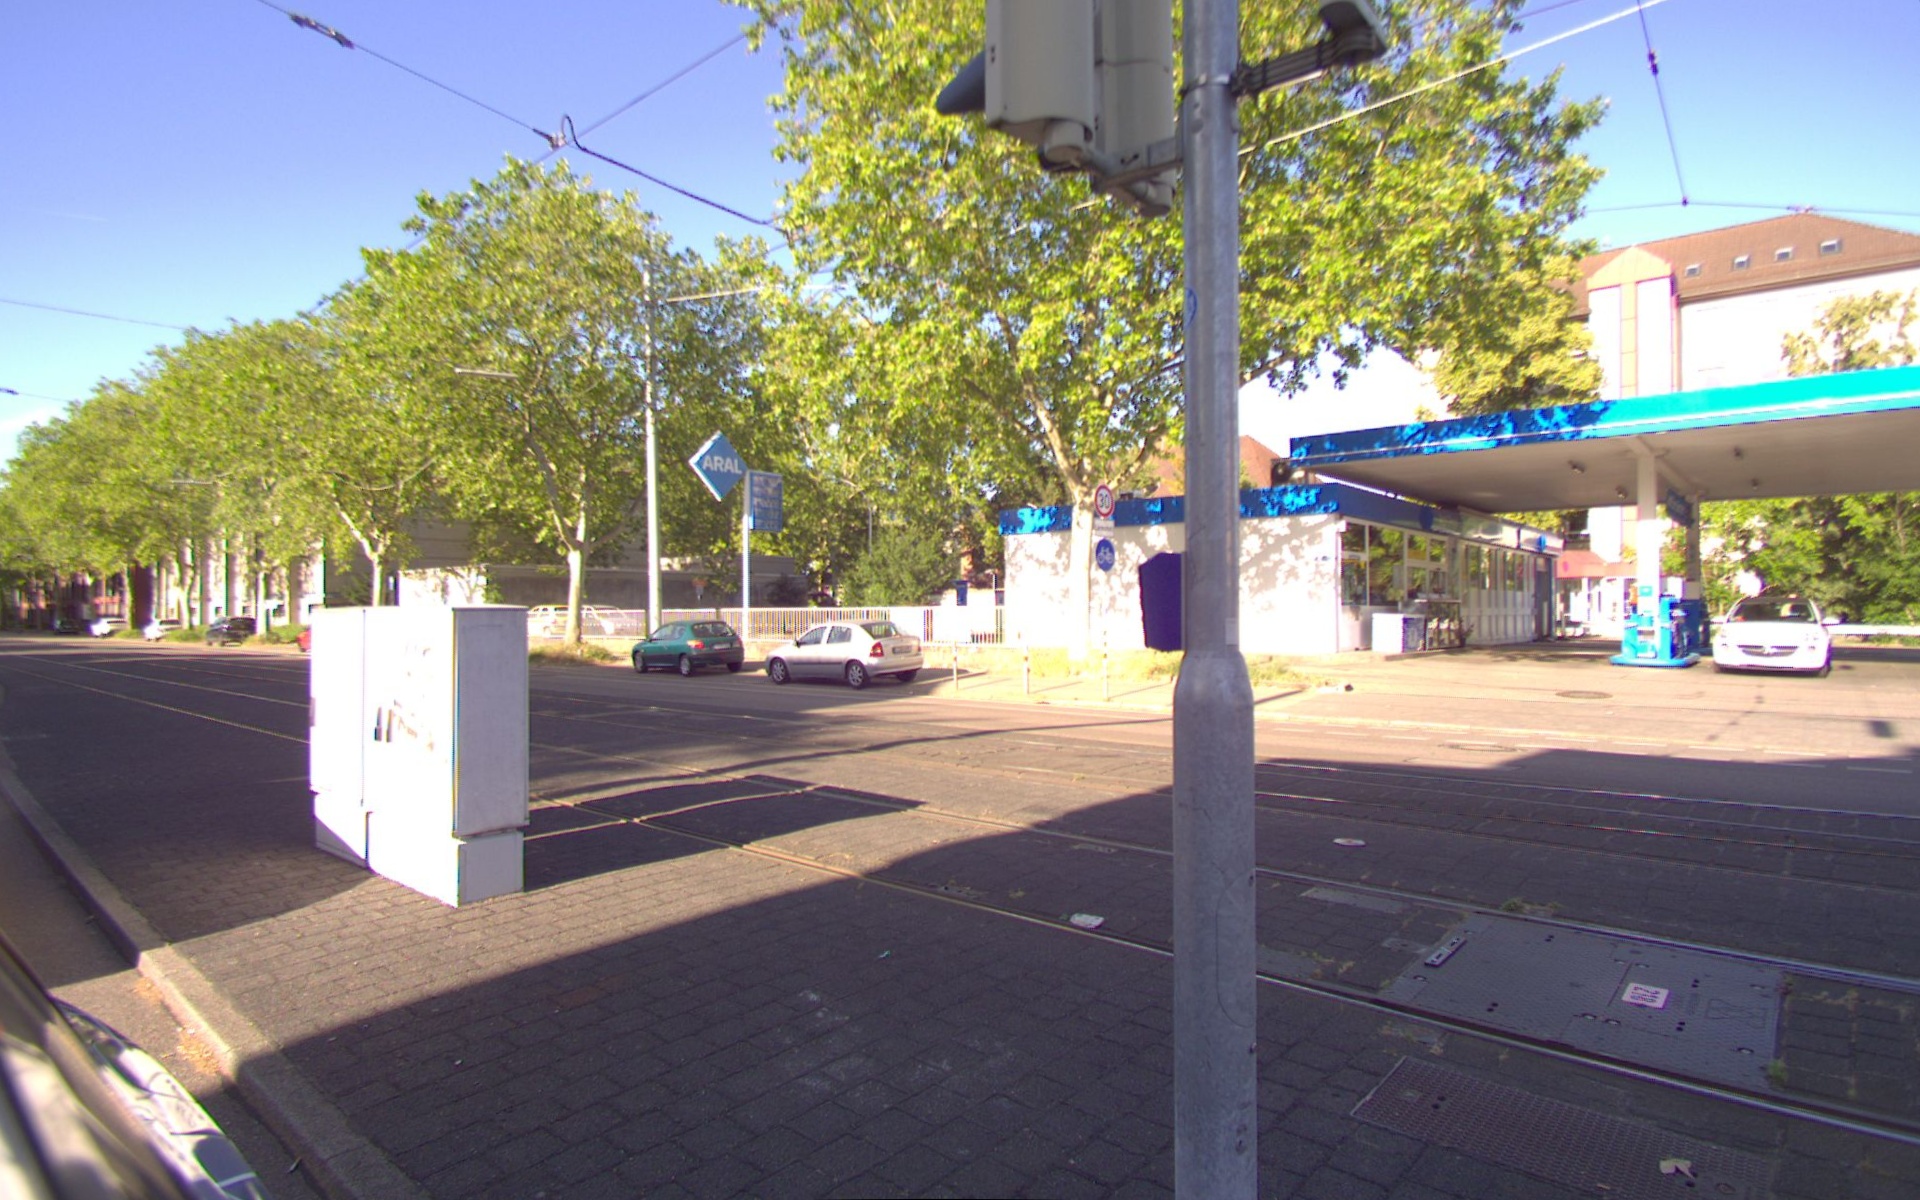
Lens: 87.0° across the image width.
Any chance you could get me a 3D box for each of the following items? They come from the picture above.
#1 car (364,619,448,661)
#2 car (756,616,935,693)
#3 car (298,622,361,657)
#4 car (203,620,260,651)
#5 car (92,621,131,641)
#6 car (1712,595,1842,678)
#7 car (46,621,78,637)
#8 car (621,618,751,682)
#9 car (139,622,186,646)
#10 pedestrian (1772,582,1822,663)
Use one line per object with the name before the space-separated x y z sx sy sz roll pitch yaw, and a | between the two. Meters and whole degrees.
car | -21.938 1.554 40.047 3.652 1.541 1.802 -1 -1 41
car | -2.627 1.161 22.658 3.965 1.475 1.771 -1 2 43
car | -28.552 1.754 45.795 3.045 1.519 1.620 -1 -1 41
car | -40.751 1.957 56.586 3.998 1.674 1.779 -1 -1 41
car | -66.681 2.407 79.525 3.998 1.525 1.779 -1 -1 41
car | 16.030 0.679 19.903 1.812 1.453 3.947 -1 -1 39
car | -85.320 2.738 96.113 3.998 1.525 1.779 -1 -1 41
car | -7.325 1.279 26.927 3.519 1.475 1.670 -1 2 43
car | -53.717 2.270 68.159 3.998 1.509 1.779 -1 -1 41
pedestrian | 17.871 0.476 21.617 0.761 1.705 0.578 -2 -2 44
